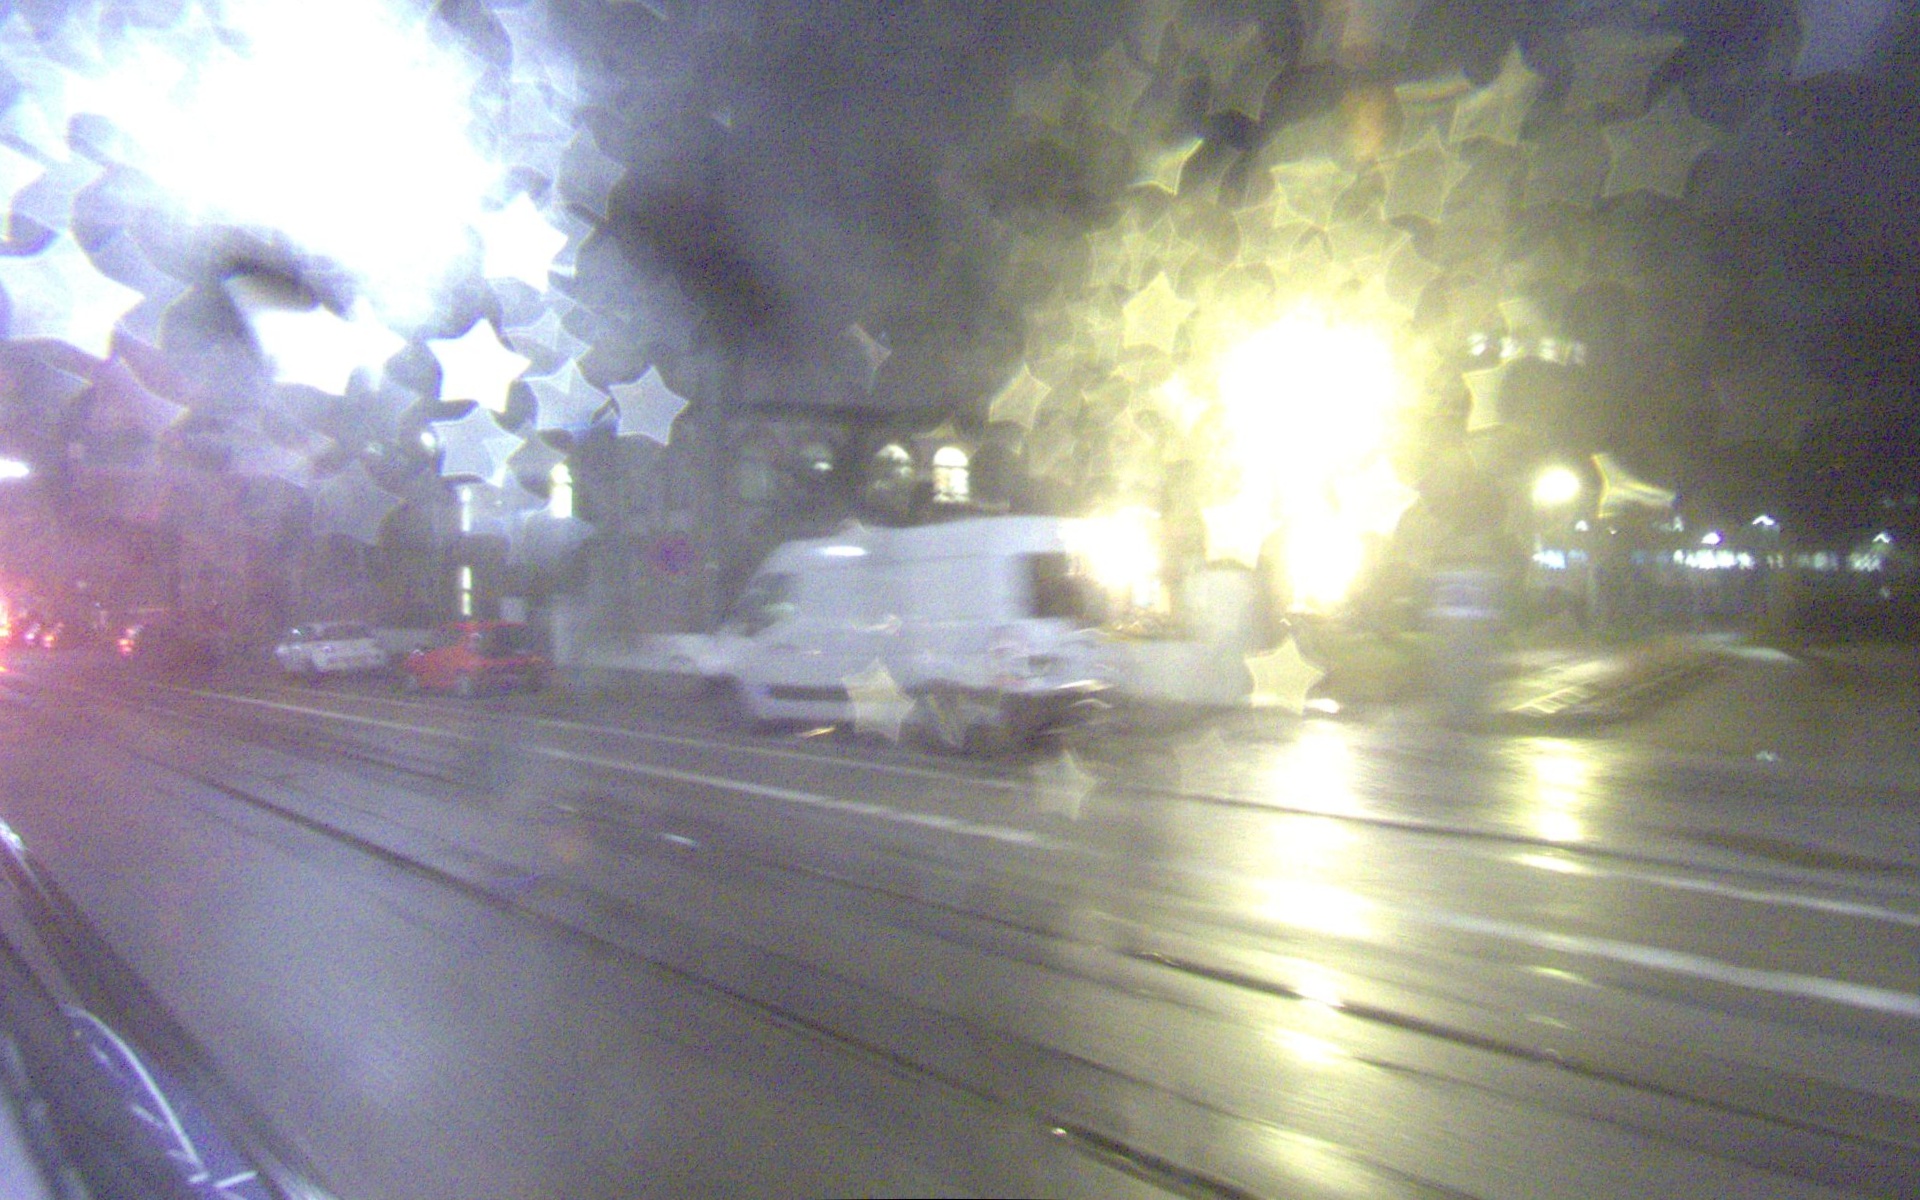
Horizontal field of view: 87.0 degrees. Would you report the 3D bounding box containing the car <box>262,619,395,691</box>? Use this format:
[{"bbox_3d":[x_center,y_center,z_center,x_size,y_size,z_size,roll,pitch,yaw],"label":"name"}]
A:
[{"bbox_3d":[-16.197,1.339,25.894,3.661,1.593,1.823,-1,2,40],"label":"car"}]

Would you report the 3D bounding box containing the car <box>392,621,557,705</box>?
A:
[{"bbox_3d":[-9.730,1.195,20.205,3.388,1.418,1.698,-1,2,40],"label":"car"}]

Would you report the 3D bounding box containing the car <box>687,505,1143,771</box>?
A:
[{"bbox_3d":[-0.712,0.348,12.134,5.254,2.527,2.220,-1,2,39],"label":"car"}]

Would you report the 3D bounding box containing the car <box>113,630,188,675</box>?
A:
[{"bbox_3d":[-31.752,2.020,39.652,3.917,1.586,1.671,-1,0,42],"label":"car"}]
